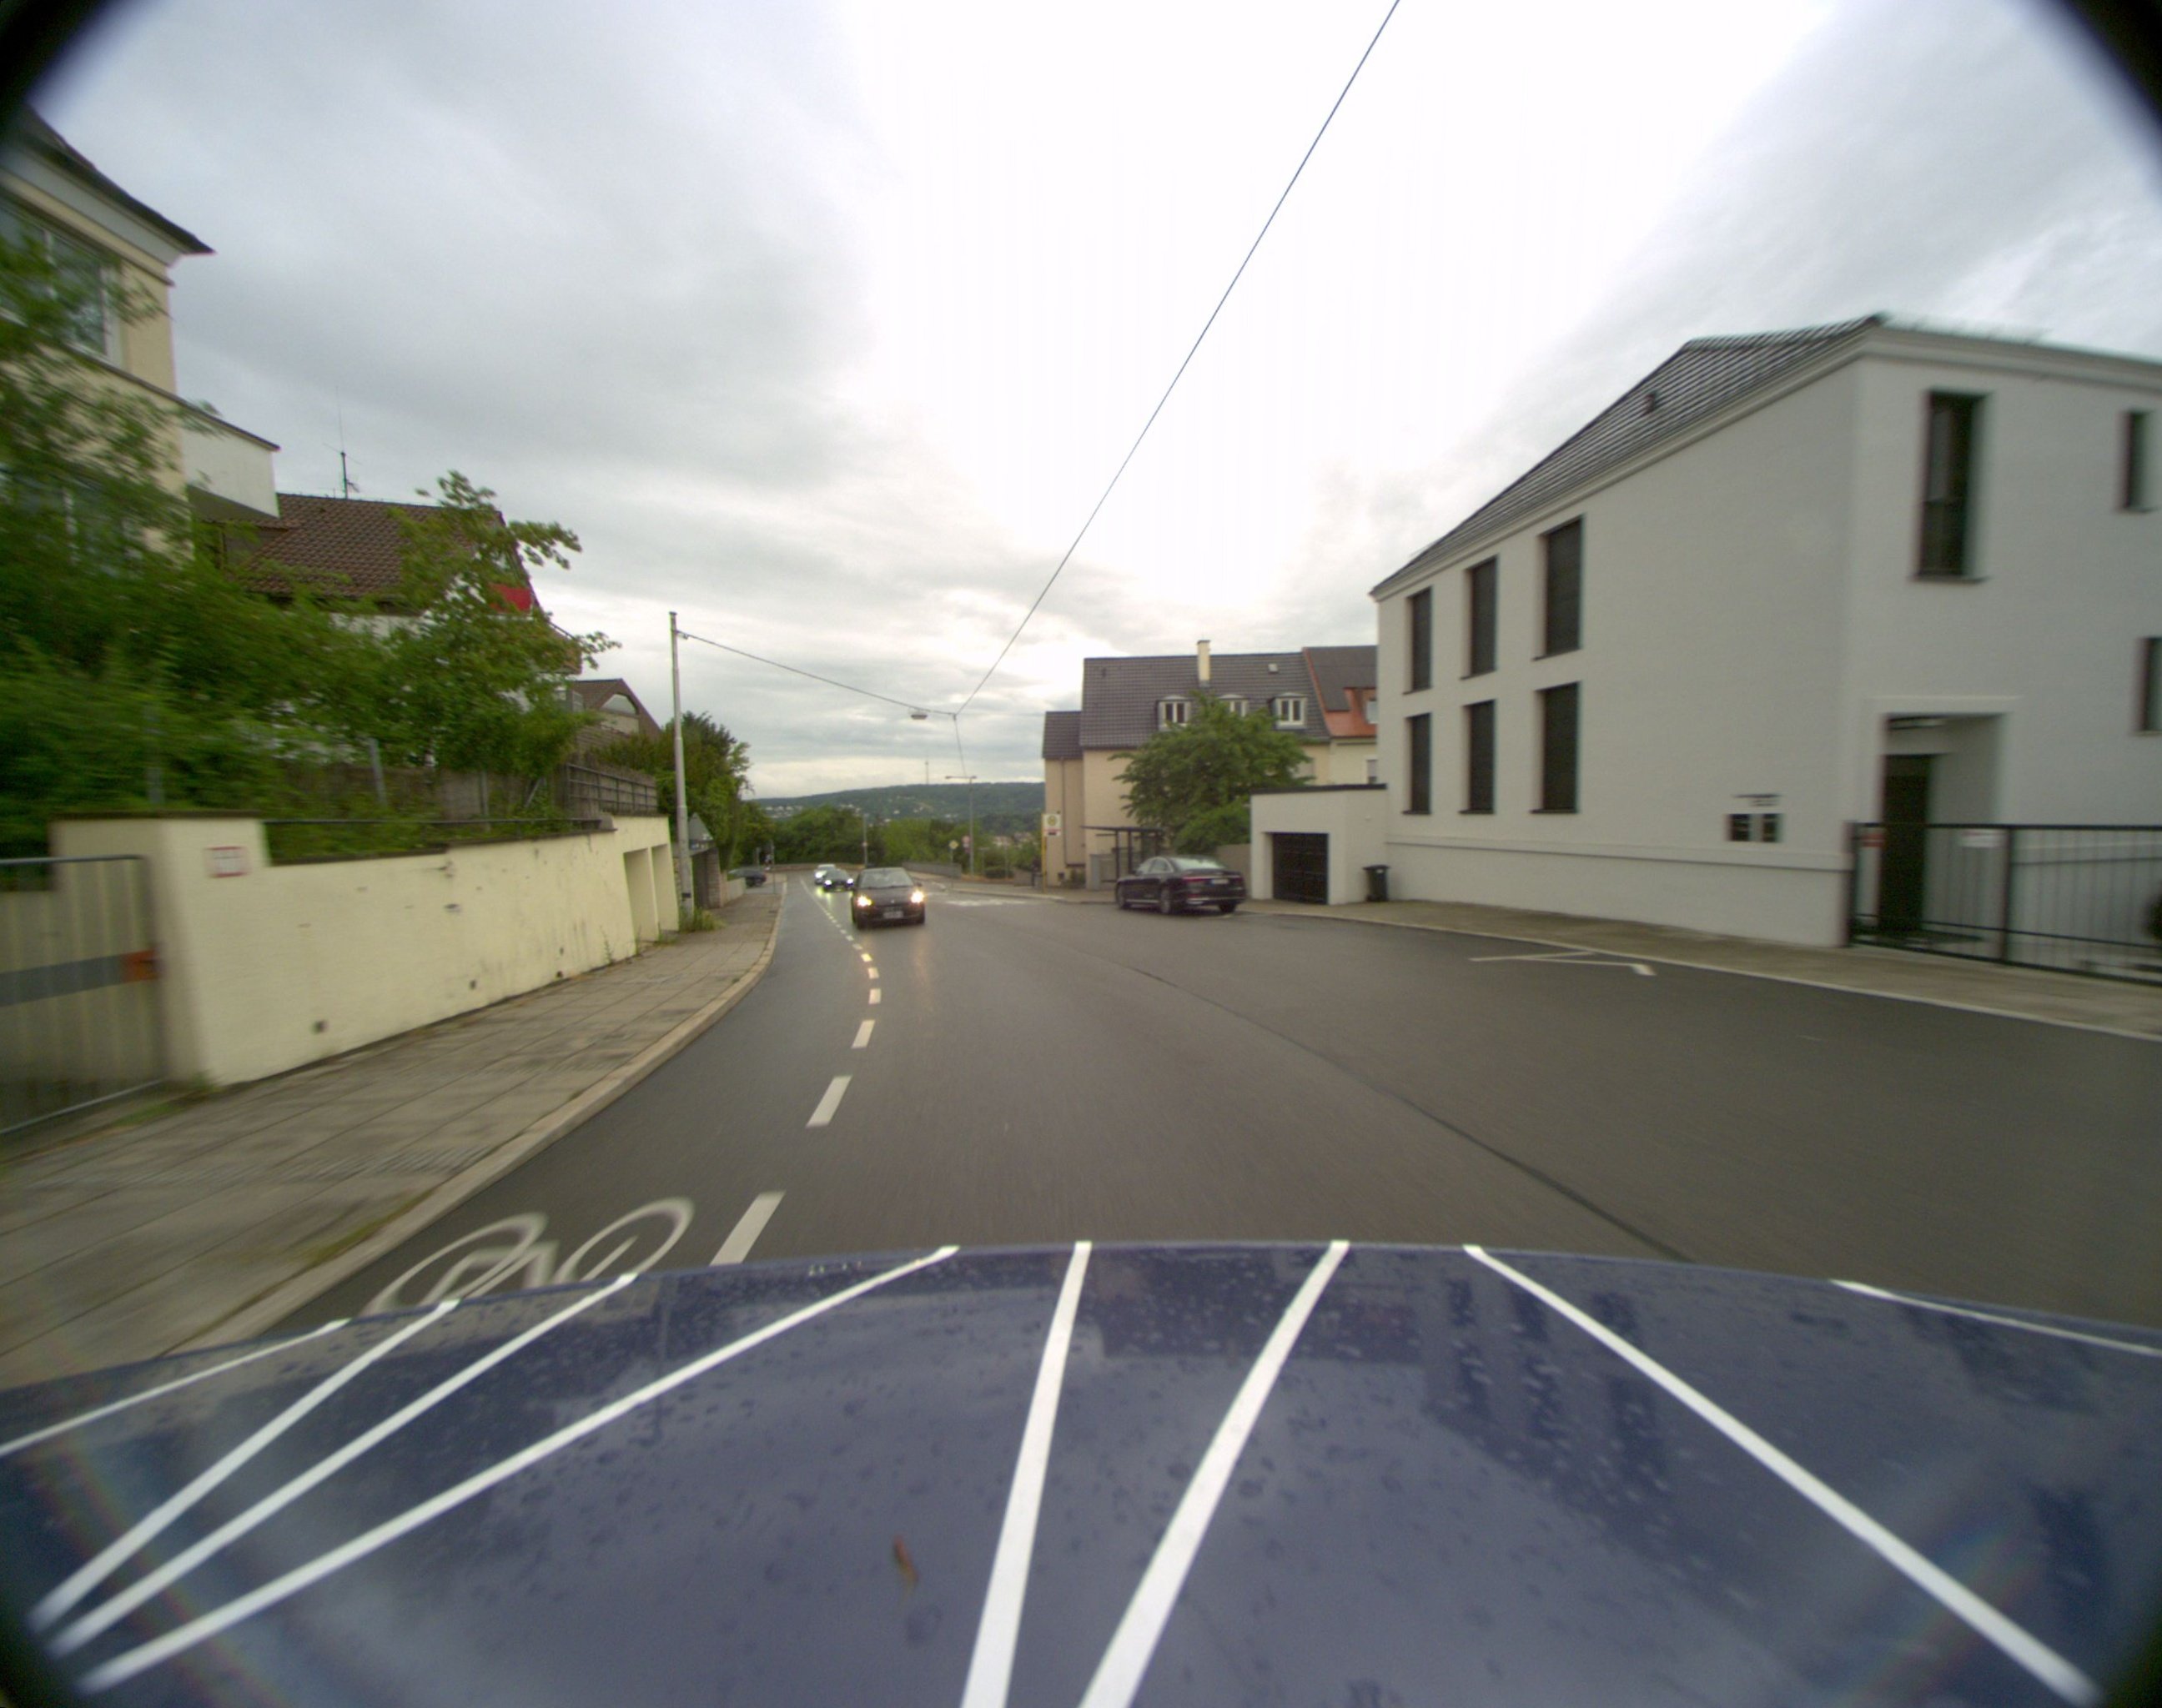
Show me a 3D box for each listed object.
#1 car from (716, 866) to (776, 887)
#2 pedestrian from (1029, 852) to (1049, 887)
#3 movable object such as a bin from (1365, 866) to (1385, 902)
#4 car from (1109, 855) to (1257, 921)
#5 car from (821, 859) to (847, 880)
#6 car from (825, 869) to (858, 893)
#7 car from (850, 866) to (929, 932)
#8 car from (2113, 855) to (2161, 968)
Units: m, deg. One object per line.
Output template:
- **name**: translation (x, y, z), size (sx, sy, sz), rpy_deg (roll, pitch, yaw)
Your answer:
- **car**: translation (-28.792, 1.883, 65.352), size (1.994, 1.514, 4.209), rpy_deg (-2, 1, 44)
- **pedestrian**: translation (-2.298, 0.813, 41.077), size (0.789, 1.846, 0.726), rpy_deg (-4, 2, -21)
- **movable object such as a bin**: translation (7.424, 0.750, 19.176), size (0.371, 0.907, 0.283), rpy_deg (0, 1, -9)
- **car**: translation (2.524, 0.798, 20.275), size (1.836, 1.477, 4.982), rpy_deg (-2, 1, -19)
- **car**: translation (-21.509, 1.334, 65.997), size (1.892, 1.566, 4.584), rpy_deg (-3, 2, -21)
- **car**: translation (-16.579, 1.835, 52.417), size (1.769, 1.445, 4.392), rpy_deg (-2, 0, -22)
- **car**: translation (-5.101, 1.094, 19.916), size (1.683, 1.405, 3.631), rpy_deg (-4, 1, -18)
- **car**: translation (15.087, 0.852, 9.005), size (4.001, 1.345, 1.740), rpy_deg (4, 2, -11)
